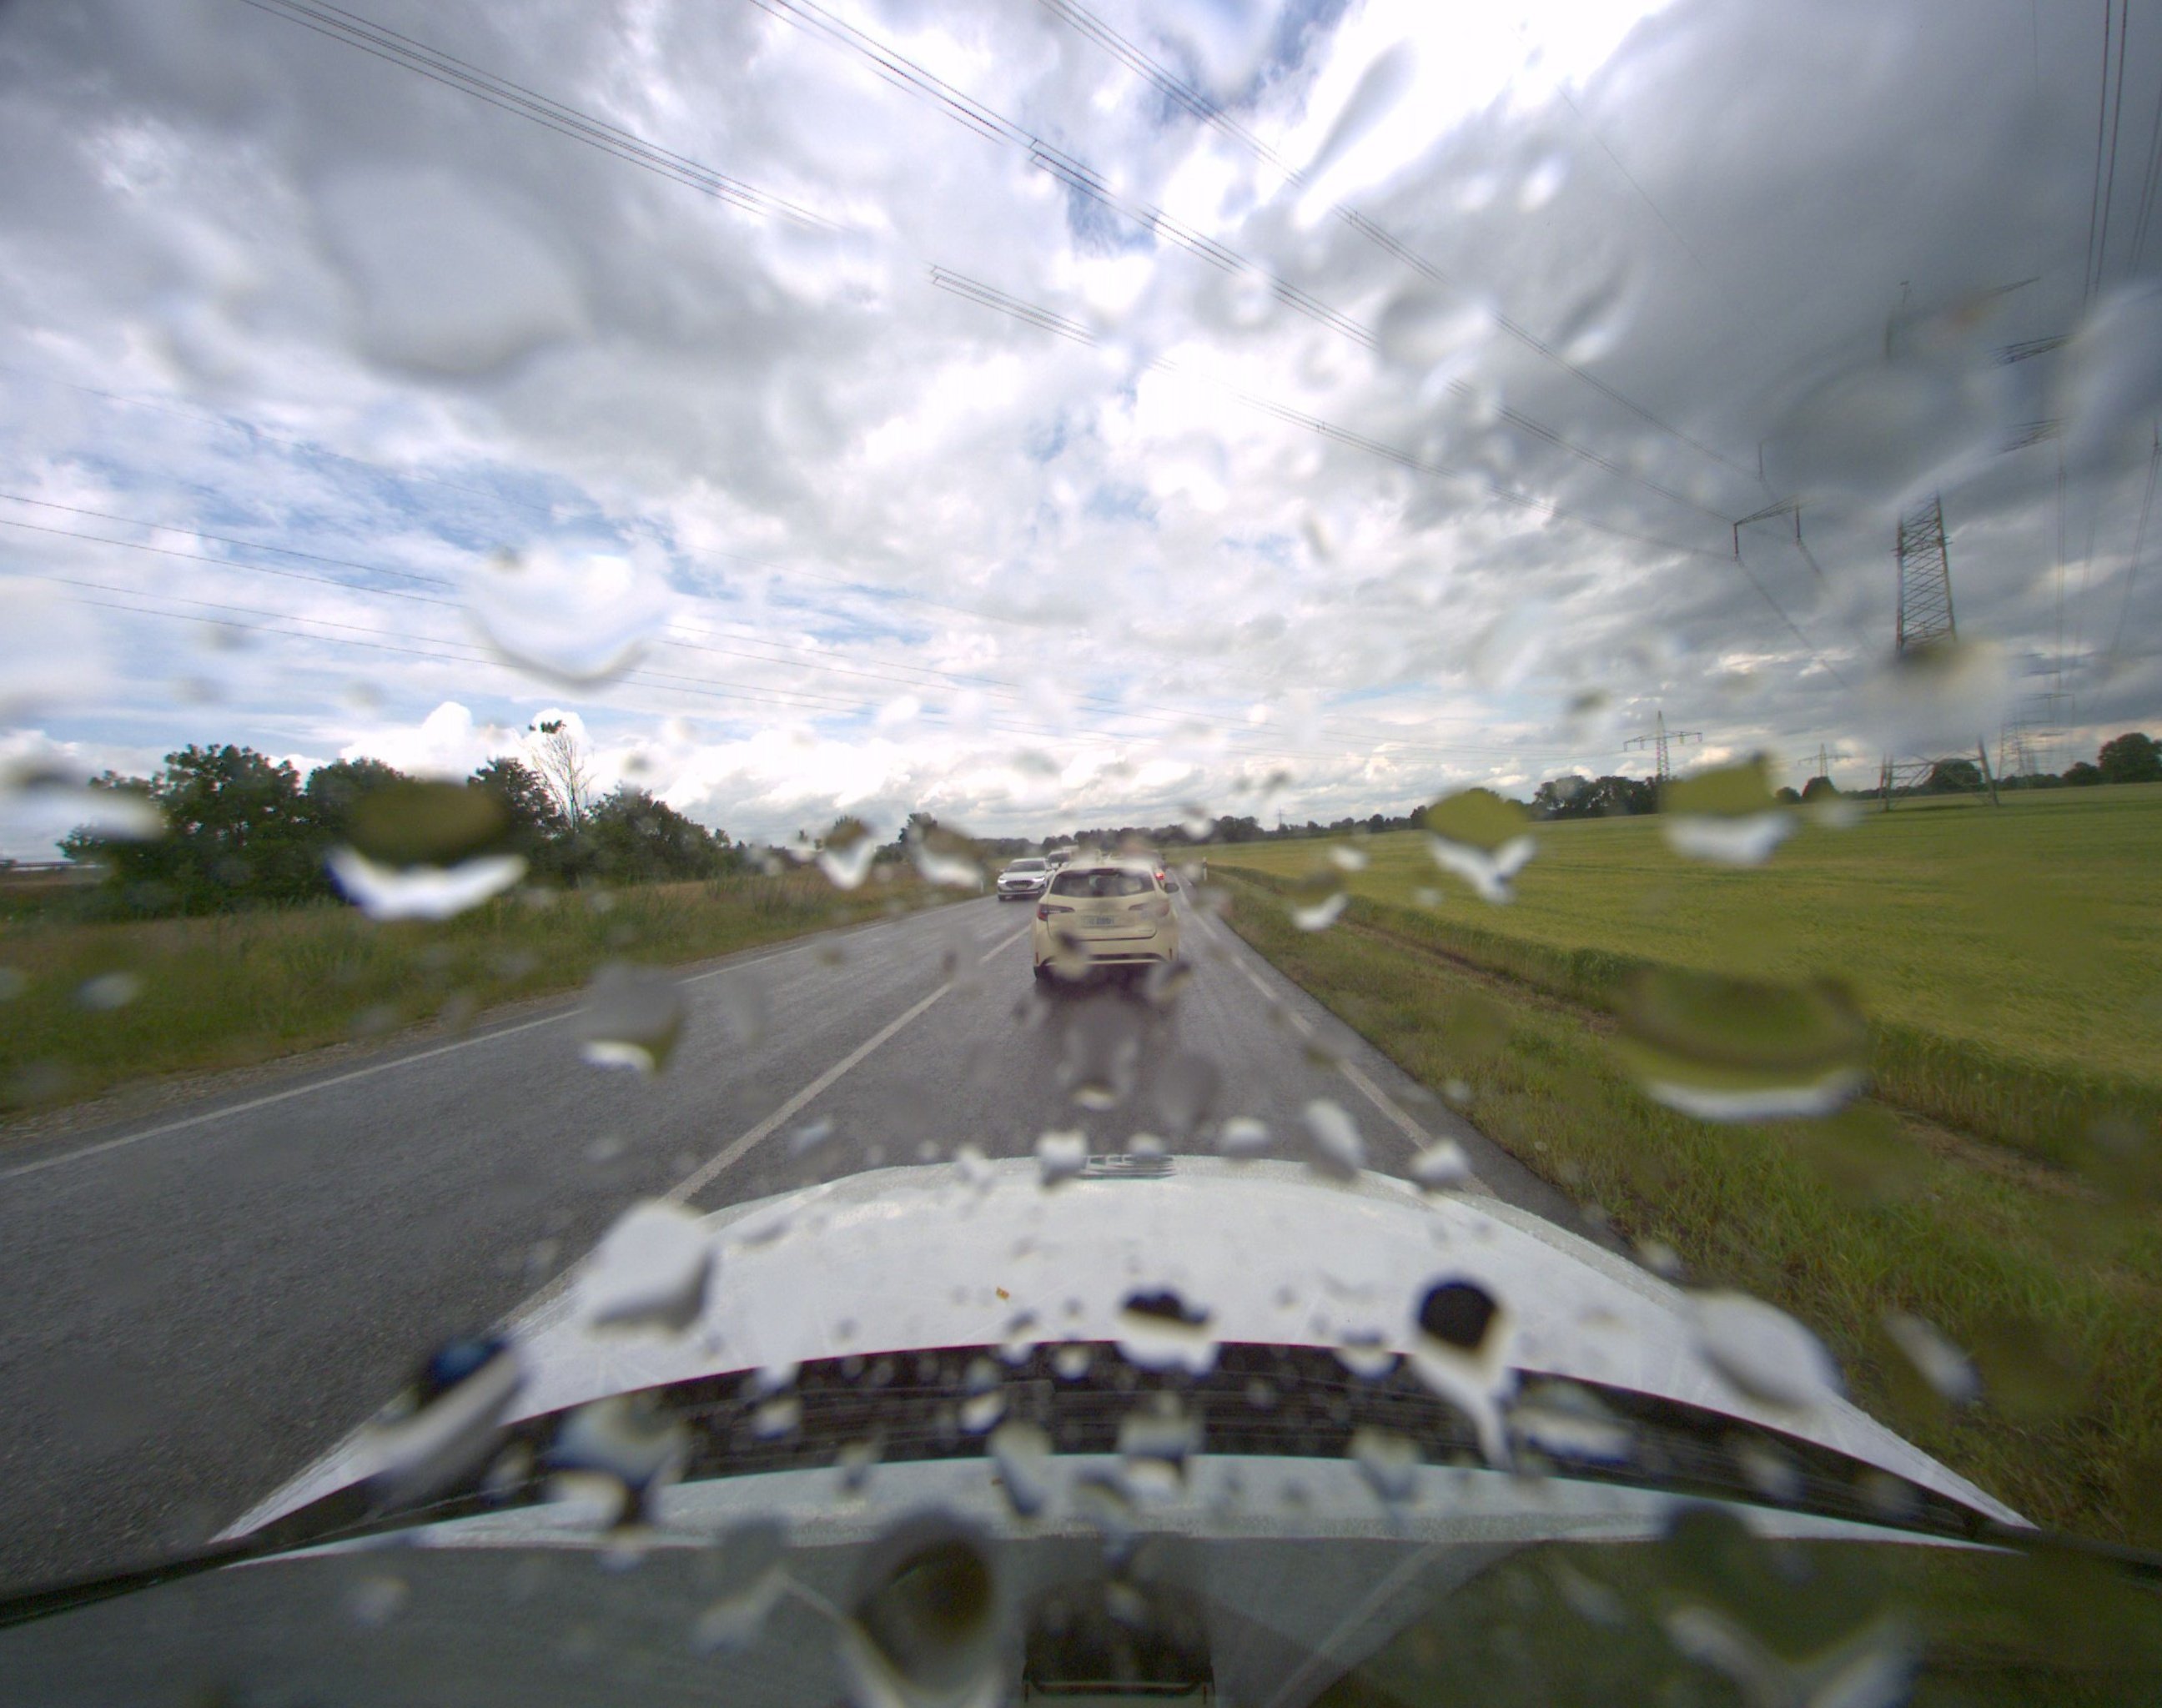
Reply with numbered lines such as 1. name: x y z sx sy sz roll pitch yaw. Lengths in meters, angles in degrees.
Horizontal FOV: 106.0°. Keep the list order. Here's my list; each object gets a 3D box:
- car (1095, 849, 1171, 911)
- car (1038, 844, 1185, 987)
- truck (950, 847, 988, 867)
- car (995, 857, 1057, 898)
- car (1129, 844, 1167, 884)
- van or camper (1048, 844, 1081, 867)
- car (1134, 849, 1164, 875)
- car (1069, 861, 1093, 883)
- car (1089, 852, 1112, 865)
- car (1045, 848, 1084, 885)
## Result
1. car: 1.408 0.632 22.102 1.833 1.492 4.612 -1 0 3
2. car: 0.501 0.728 10.879 1.605 1.562 3.743 -1 -1 5
3. truck: -19.347 0.514 140.140 3.036 3.209 8.143 0 -2 -35
4. car: -1.982 0.844 30.354 1.837 1.388 4.289 -1 -1 2
5. car: 2.975 0.465 36.547 1.606 1.659 3.741 -1 -1 3
6. van or camper: -2.223 0.200 109.026 2.544 2.896 6.700 -1 0 -18
7. car: 3.914 0.492 46.920 1.605 1.413 3.743 -1 -1 5
8. car: -0.036 1.479 68.426 1.844 1.631 4.531 -2 0 -2
9. car: 2.144 0.545 91.798 1.784 1.413 3.723 0 -1 -12
10. car: -0.847 0.677 44.030 1.837 1.855 4.449 -1 -1 2
